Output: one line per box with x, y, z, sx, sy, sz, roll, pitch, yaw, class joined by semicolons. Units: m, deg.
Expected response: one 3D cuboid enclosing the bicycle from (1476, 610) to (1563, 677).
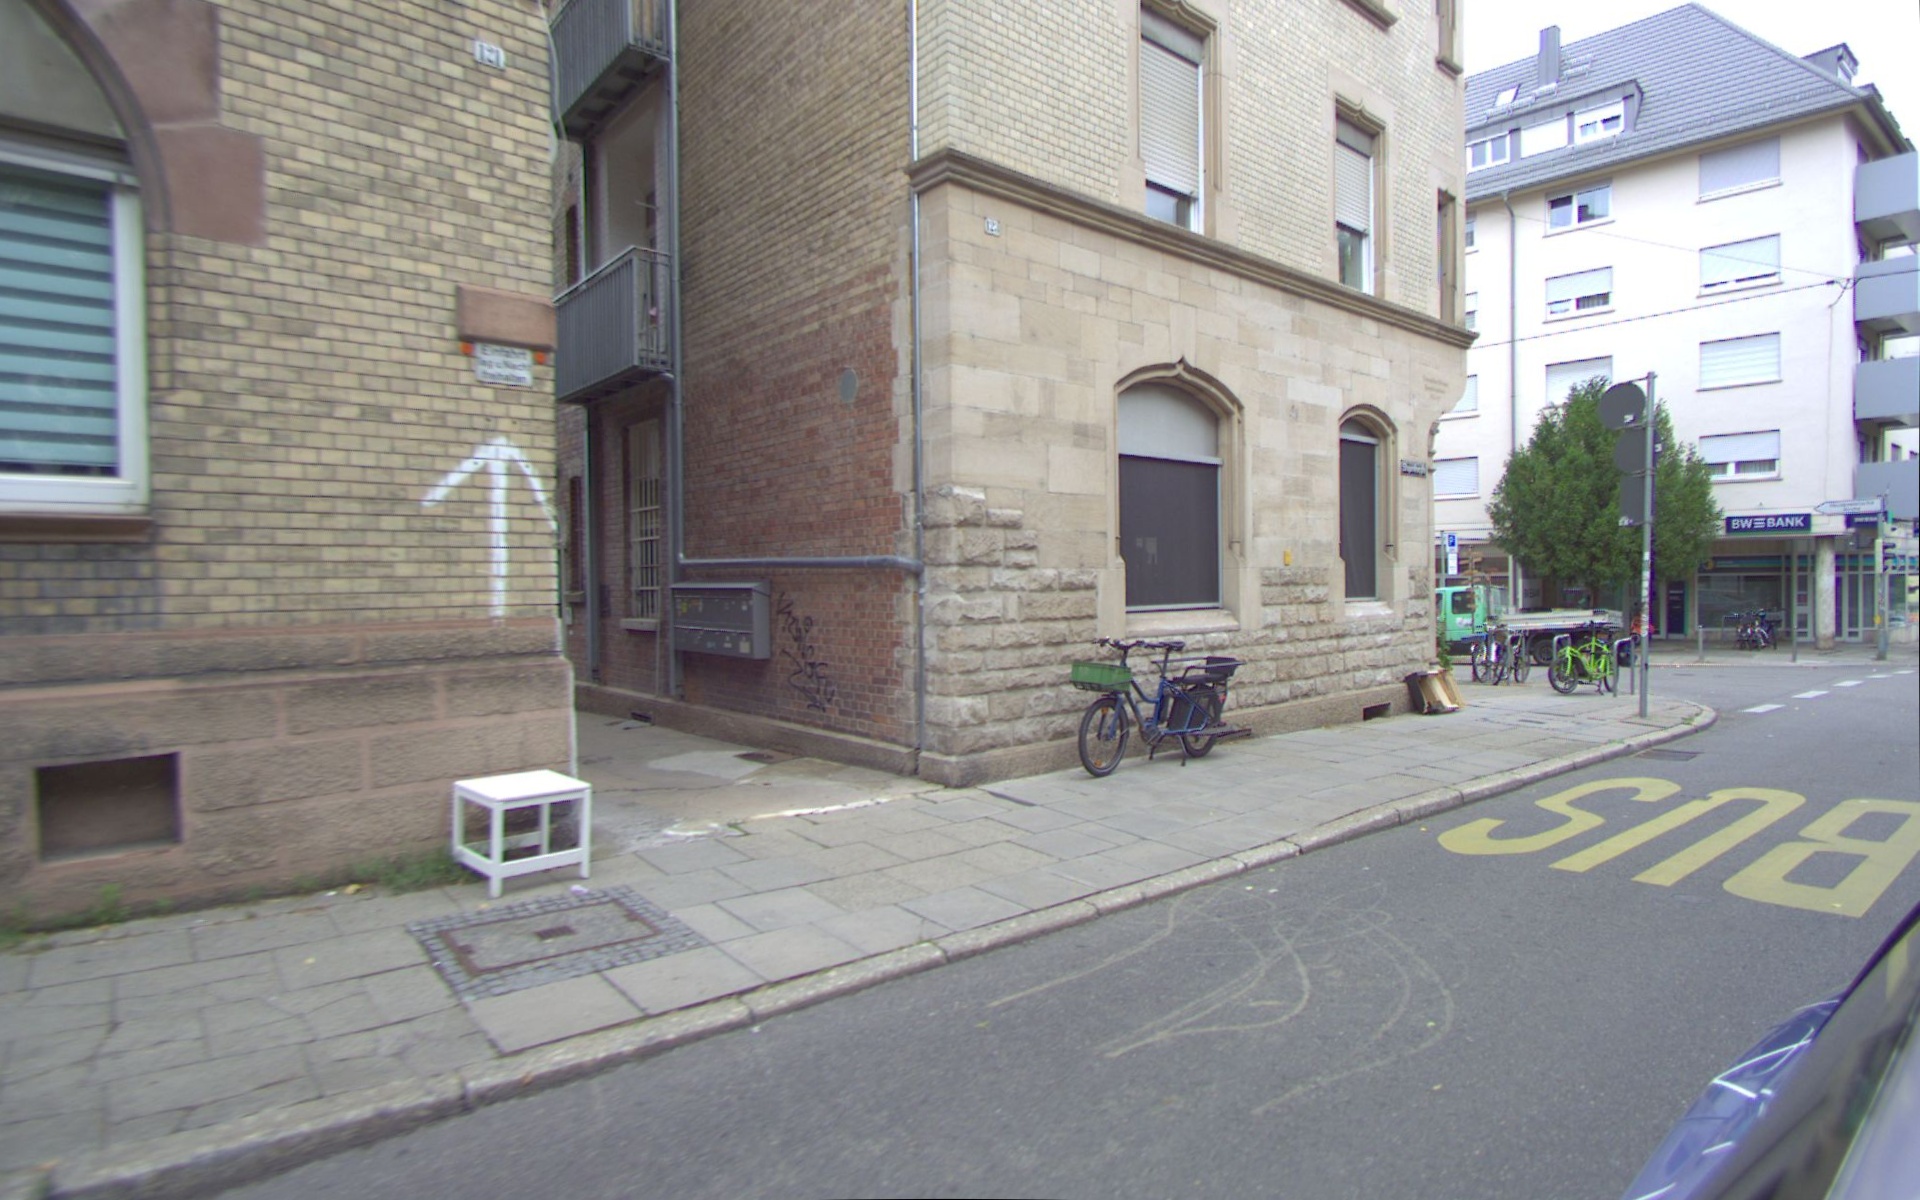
10.238;0.784;18.499;2.021;1.164;0.683;2;-3;-39;bicycle

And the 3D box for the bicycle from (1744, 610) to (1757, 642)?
23.481;0.756;30.058;0.184;0.919;1.217;-1;-1;43;bicycle

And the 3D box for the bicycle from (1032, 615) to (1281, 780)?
1.733;0.748;8.609;2.439;1.164;0.683;-1;1;-39;bicycle

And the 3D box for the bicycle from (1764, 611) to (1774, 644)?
23.068;0.768;28.855;0.120;0.919;1.265;-1;-1;43;bicycle

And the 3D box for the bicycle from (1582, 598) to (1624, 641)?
19.656;0.588;30.908;1.849;1.271;0.439;0;-1;-37;bicycle

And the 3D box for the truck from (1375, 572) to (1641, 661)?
14.608;0.517;27.272;5.839;2.134;2.513;-2;-4;44;truck

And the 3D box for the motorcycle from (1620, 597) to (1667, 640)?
20.491;0.543;30.313;1.896;1.211;0.591;0;2;-39;motorcycle

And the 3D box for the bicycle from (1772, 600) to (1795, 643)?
24.050;0.617;29.538;0.399;1.220;1.265;-2;-2;43;bicycle

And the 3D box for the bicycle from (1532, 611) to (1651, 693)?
9.826;0.772;15.678;2.887;1.164;0.683;2;-1;-39;bicycle

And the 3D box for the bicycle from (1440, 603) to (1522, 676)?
9.881;0.716;19.166;2.343;1.293;0.459;0;-1;-39;bicycle

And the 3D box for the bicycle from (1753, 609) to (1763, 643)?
23.081;0.742;29.272;0.141;0.918;1.230;0;1;43;bicycle
